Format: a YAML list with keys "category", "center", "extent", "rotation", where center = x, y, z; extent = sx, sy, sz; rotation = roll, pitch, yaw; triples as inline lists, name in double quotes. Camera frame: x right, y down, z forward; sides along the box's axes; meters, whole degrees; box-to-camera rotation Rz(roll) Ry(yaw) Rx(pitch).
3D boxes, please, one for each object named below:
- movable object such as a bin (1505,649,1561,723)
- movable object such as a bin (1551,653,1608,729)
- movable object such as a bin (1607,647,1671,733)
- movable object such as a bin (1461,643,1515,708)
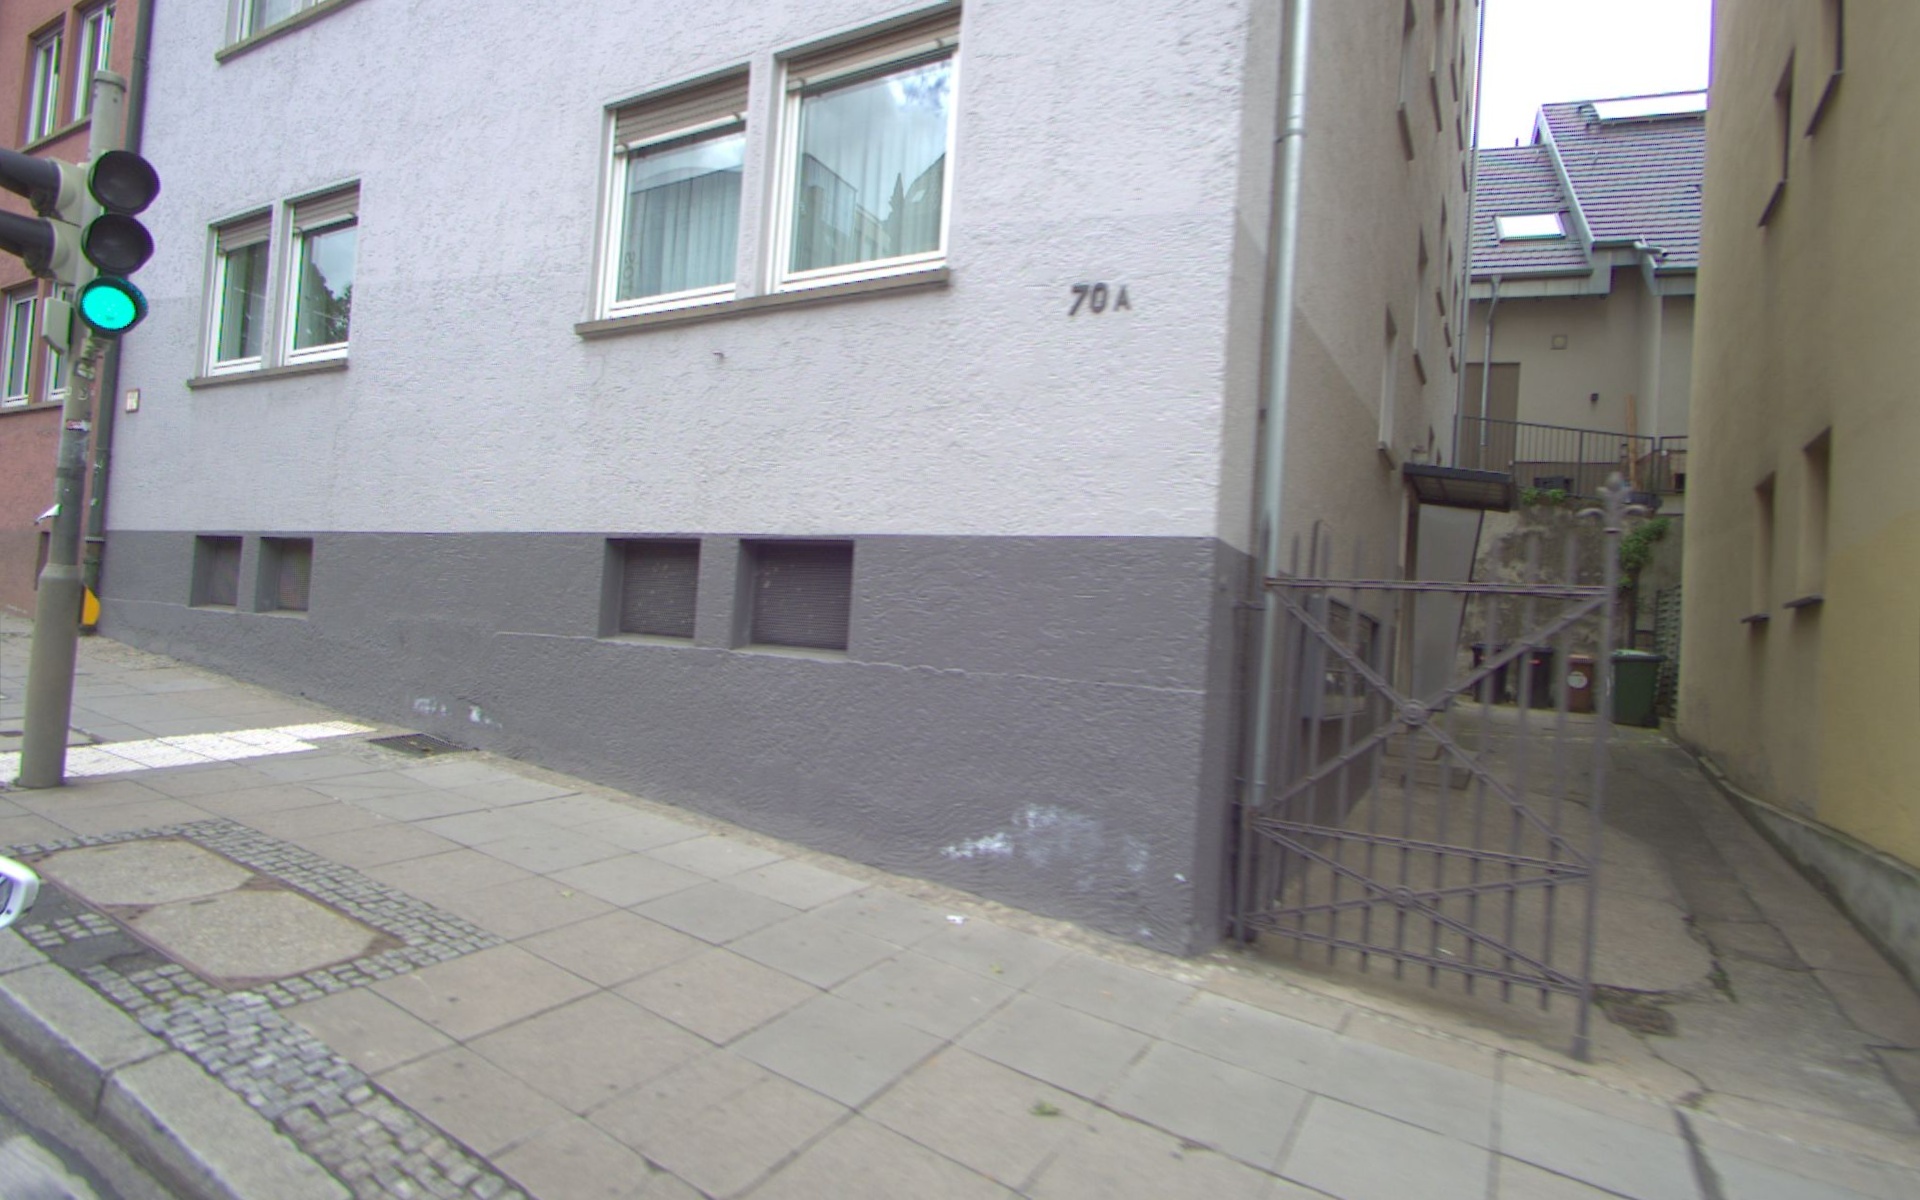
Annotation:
- category: "movable object such as a bin"
  center: [9.715, 1.459, 17.058]
  extent: [0.606, 1.149, 0.709]
  rotation: [7, 0, 38]
- category: "movable object such as a bin"
  center: [10.213, 1.509, 16.591]
  extent: [0.606, 1.149, 0.709]
  rotation: [7, 0, 38]
- category: "movable object such as a bin"
  center: [9.879, 1.314, 14.630]
  extent: [0.606, 1.149, 0.709]
  rotation: [7, 0, 38]
- category: "movable object such as a bin"
  center: [9.186, 1.315, 17.507]
  extent: [0.606, 1.025, 0.709]
  rotation: [7, 0, 38]
